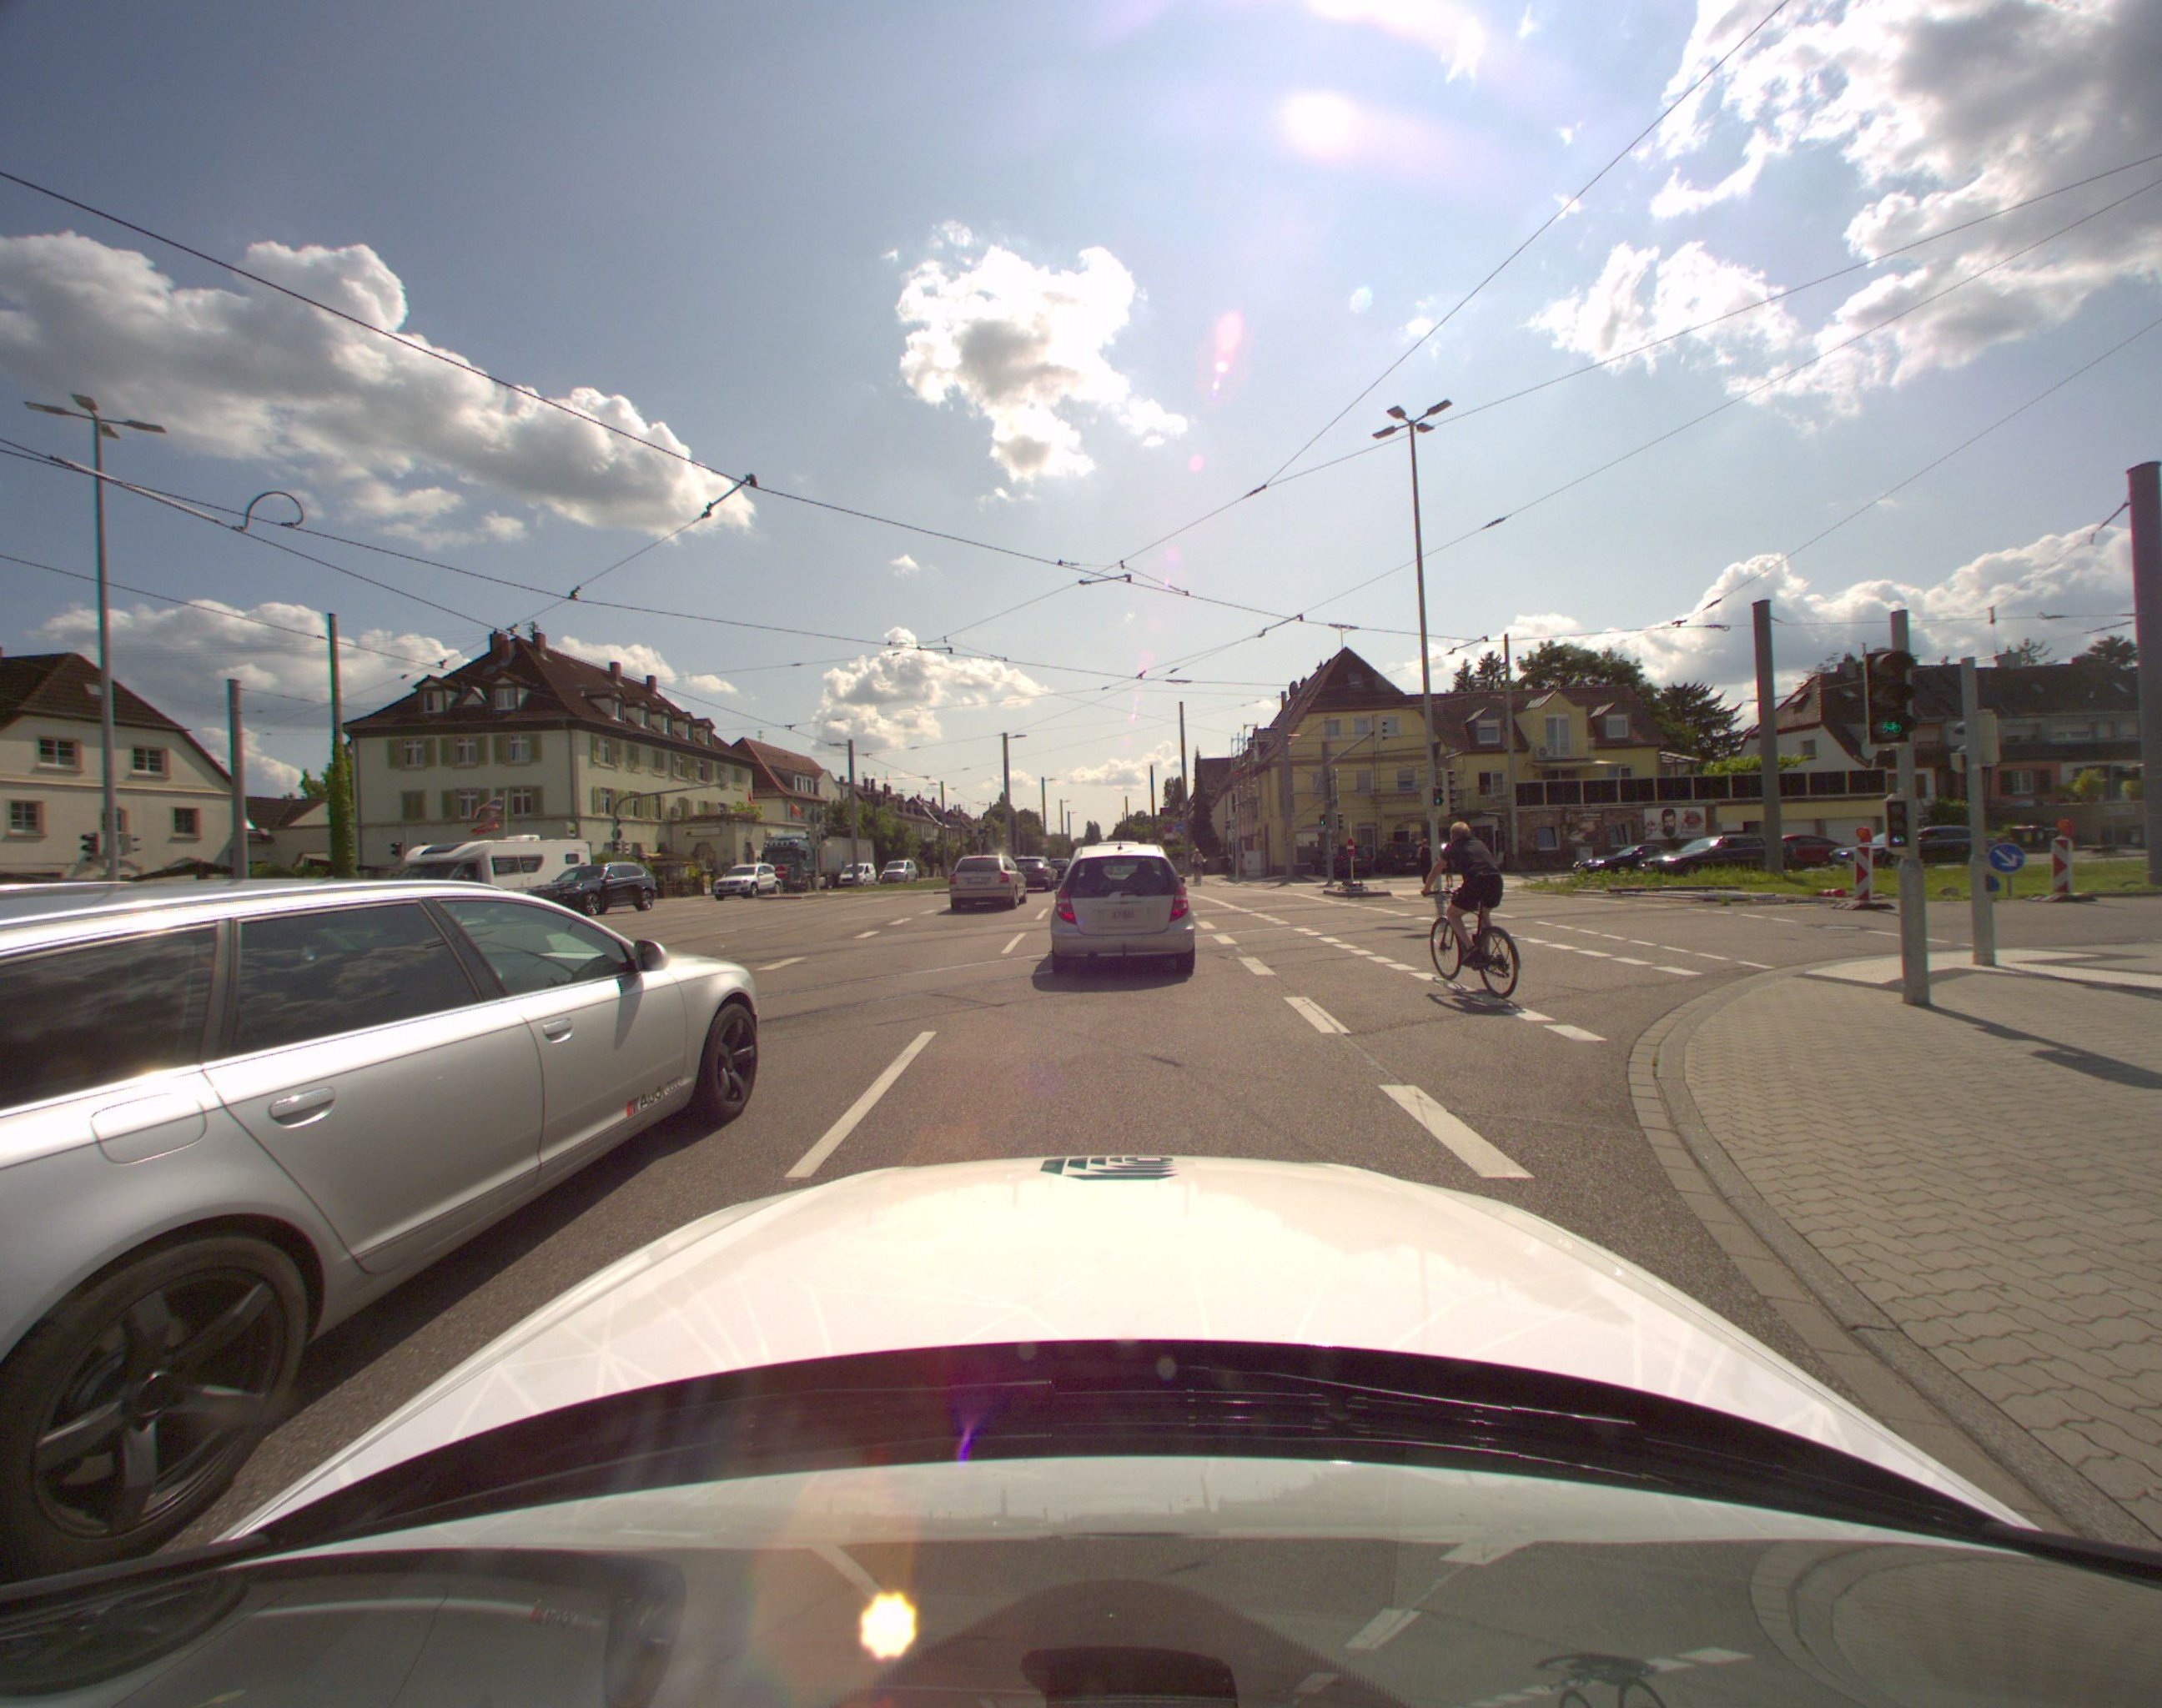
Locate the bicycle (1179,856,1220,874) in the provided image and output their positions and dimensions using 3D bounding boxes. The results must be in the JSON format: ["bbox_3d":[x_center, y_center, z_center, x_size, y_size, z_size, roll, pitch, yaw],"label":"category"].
[{"bbox_3d":[8.291,0.752,56.874,2.716,1.120,0.691,-3,-1,1],"label":"bicycle"}]

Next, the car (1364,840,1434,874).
[{"bbox_3d":[15.713,0.158,40.487,1.986,1.596,4.133,-1,-1,2],"label":"car"}]

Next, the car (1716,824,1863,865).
[{"bbox_3d":[27.555,-0.348,31.756,4.303,1.474,1.738,-1,-1,-2],"label":"car"}]

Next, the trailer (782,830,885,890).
[{"bbox_3d":[-18.045,0.321,60.703,2.587,3.821,12.852,-5,0,4],"label":"trailer"}]

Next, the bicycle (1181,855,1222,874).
[{"bbox_3d":[8.291,0.734,56.146,2.652,1.105,0.786,-3,-1,1],"label":"bicycle"}]

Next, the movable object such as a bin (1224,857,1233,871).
[{"bbox_3d":[10.196,0.684,56.372,0.466,0.947,0.558,-3,-1,2],"label":"movable object such as a bin"}]

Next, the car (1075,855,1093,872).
[{"bbox_3d":[0.333,1.024,87.432,1.846,1.843,3.918,-1,-1,0],"label":"car"}]

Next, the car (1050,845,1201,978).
[{"bbox_3d":[0.512,0.659,11.440,1.724,1.517,4.016,-1,0,0],"label":"car"}]

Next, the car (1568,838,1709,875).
[{"bbox_3d":[21.510,0.109,31.506,4.303,1.308,1.738,-1,-1,-2],"label":"car"}]

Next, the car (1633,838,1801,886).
[{"bbox_3d":[21.362,0.259,27.465,4.303,1.328,1.738,-3,-1,-2],"label":"car"}]

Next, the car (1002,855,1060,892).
[{"bbox_3d":[-2.051,0.796,34.905,1.908,1.477,4.566,-1,-1,3],"label":"car"}]

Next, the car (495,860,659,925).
[{"bbox_3d":[-16.326,1.160,26.776,1.984,1.776,4.884,-4,0,4],"label":"car"}]

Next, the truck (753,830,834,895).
[{"bbox_3d":[-18.602,0.505,53.133,2.587,3.821,5.674,-5,0,5],"label":"truck"}]

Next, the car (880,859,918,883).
[{"bbox_3d":[-14.767,1.374,66.324,1.788,1.815,4.714,-3,-1,2],"label":"car"}]

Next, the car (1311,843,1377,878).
[{"bbox_3d":[12.785,0.336,39.829,1.986,1.596,4.133,-1,-1,2],"label":"car"}]

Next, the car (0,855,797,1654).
[{"bbox_3d":[-2.877,0.779,3.111,1.788,1.472,4.723,-2,0,1],"label":"car"}]

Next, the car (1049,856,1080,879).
[{"bbox_3d":[-1.007,0.851,51.443,1.846,1.388,4.514,-1,-1,0],"label":"car"}]

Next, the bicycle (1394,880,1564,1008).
[{"bbox_3d":[4.097,0.877,8.589,0.825,1.075,1.972,-4,0,2],"label":"bicycle"}]

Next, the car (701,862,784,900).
[{"bbox_3d":[-16.157,1.247,39.120,1.986,1.552,4.180,-5,-1,2],"label":"car"}]

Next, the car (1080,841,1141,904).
[{"bbox_3d":[0.927,0.551,25.212,1.723,1.762,4.018,-1,-1,2],"label":"car"}]

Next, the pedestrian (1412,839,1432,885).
[{"bbox_3d":[12.221,0.280,29.153,0.544,1.643,0.402,-1,-1,6],"label":"pedestrian"}]

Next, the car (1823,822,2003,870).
[{"bbox_3d":[27.910,-0.261,27.405,4.303,1.328,1.738,-3,-1,-2],"label":"car"}]

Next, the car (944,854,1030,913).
[{"bbox_3d":[-2.513,0.743,22.718,1.724,1.449,4.125,-1,0,2],"label":"car"}]

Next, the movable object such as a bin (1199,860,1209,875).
[{"bbox_3d":[7.685,0.819,50.719,0.509,0.918,0.742,-2,-1,2],"label":"movable object such as a bin"}]

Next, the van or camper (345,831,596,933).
[{"bbox_3d":[-20.315,0.844,27.888,2.314,2.930,7.761,-2,0,3],"label":"van or camper"}]

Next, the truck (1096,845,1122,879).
[{"bbox_3d":[2.174,0.617,64.651,1.846,2.552,5.854,-1,-1,0],"label":"truck"}]

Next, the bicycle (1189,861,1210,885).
[{"bbox_3d":[5.740,0.911,39.535,0.649,1.117,1.585,-1,-1,-5],"label":"bicycle"}]

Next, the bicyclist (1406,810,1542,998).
[{"bbox_3d":[4.075,0.490,8.541,0.825,1.794,1.084,-4,0,1],"label":"bicyclist"}]

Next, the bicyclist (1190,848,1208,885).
[{"bbox_3d":[5.742,0.612,39.611,0.649,1.738,0.982,-1,-1,-5],"label":"bicyclist"}]

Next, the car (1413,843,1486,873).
[{"bbox_3d":[18.053,0.215,40.100,1.860,1.351,4.133,-1,-1,2],"label":"car"}]

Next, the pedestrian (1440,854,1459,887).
[{"bbox_3d":[13.158,0.589,29.096,0.486,1.136,0.389,-1,-1,2],"label":"pedestrian"}]

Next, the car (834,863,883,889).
[{"bbox_3d":[-15.127,1.488,55.704,1.787,1.637,4.475,-3,-1,4],"label":"car"}]

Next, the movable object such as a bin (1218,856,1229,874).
[{"bbox_3d":[8.890,0.661,50.798,0.509,1.105,0.855,-2,-1,2],"label":"movable object such as a bin"}]
